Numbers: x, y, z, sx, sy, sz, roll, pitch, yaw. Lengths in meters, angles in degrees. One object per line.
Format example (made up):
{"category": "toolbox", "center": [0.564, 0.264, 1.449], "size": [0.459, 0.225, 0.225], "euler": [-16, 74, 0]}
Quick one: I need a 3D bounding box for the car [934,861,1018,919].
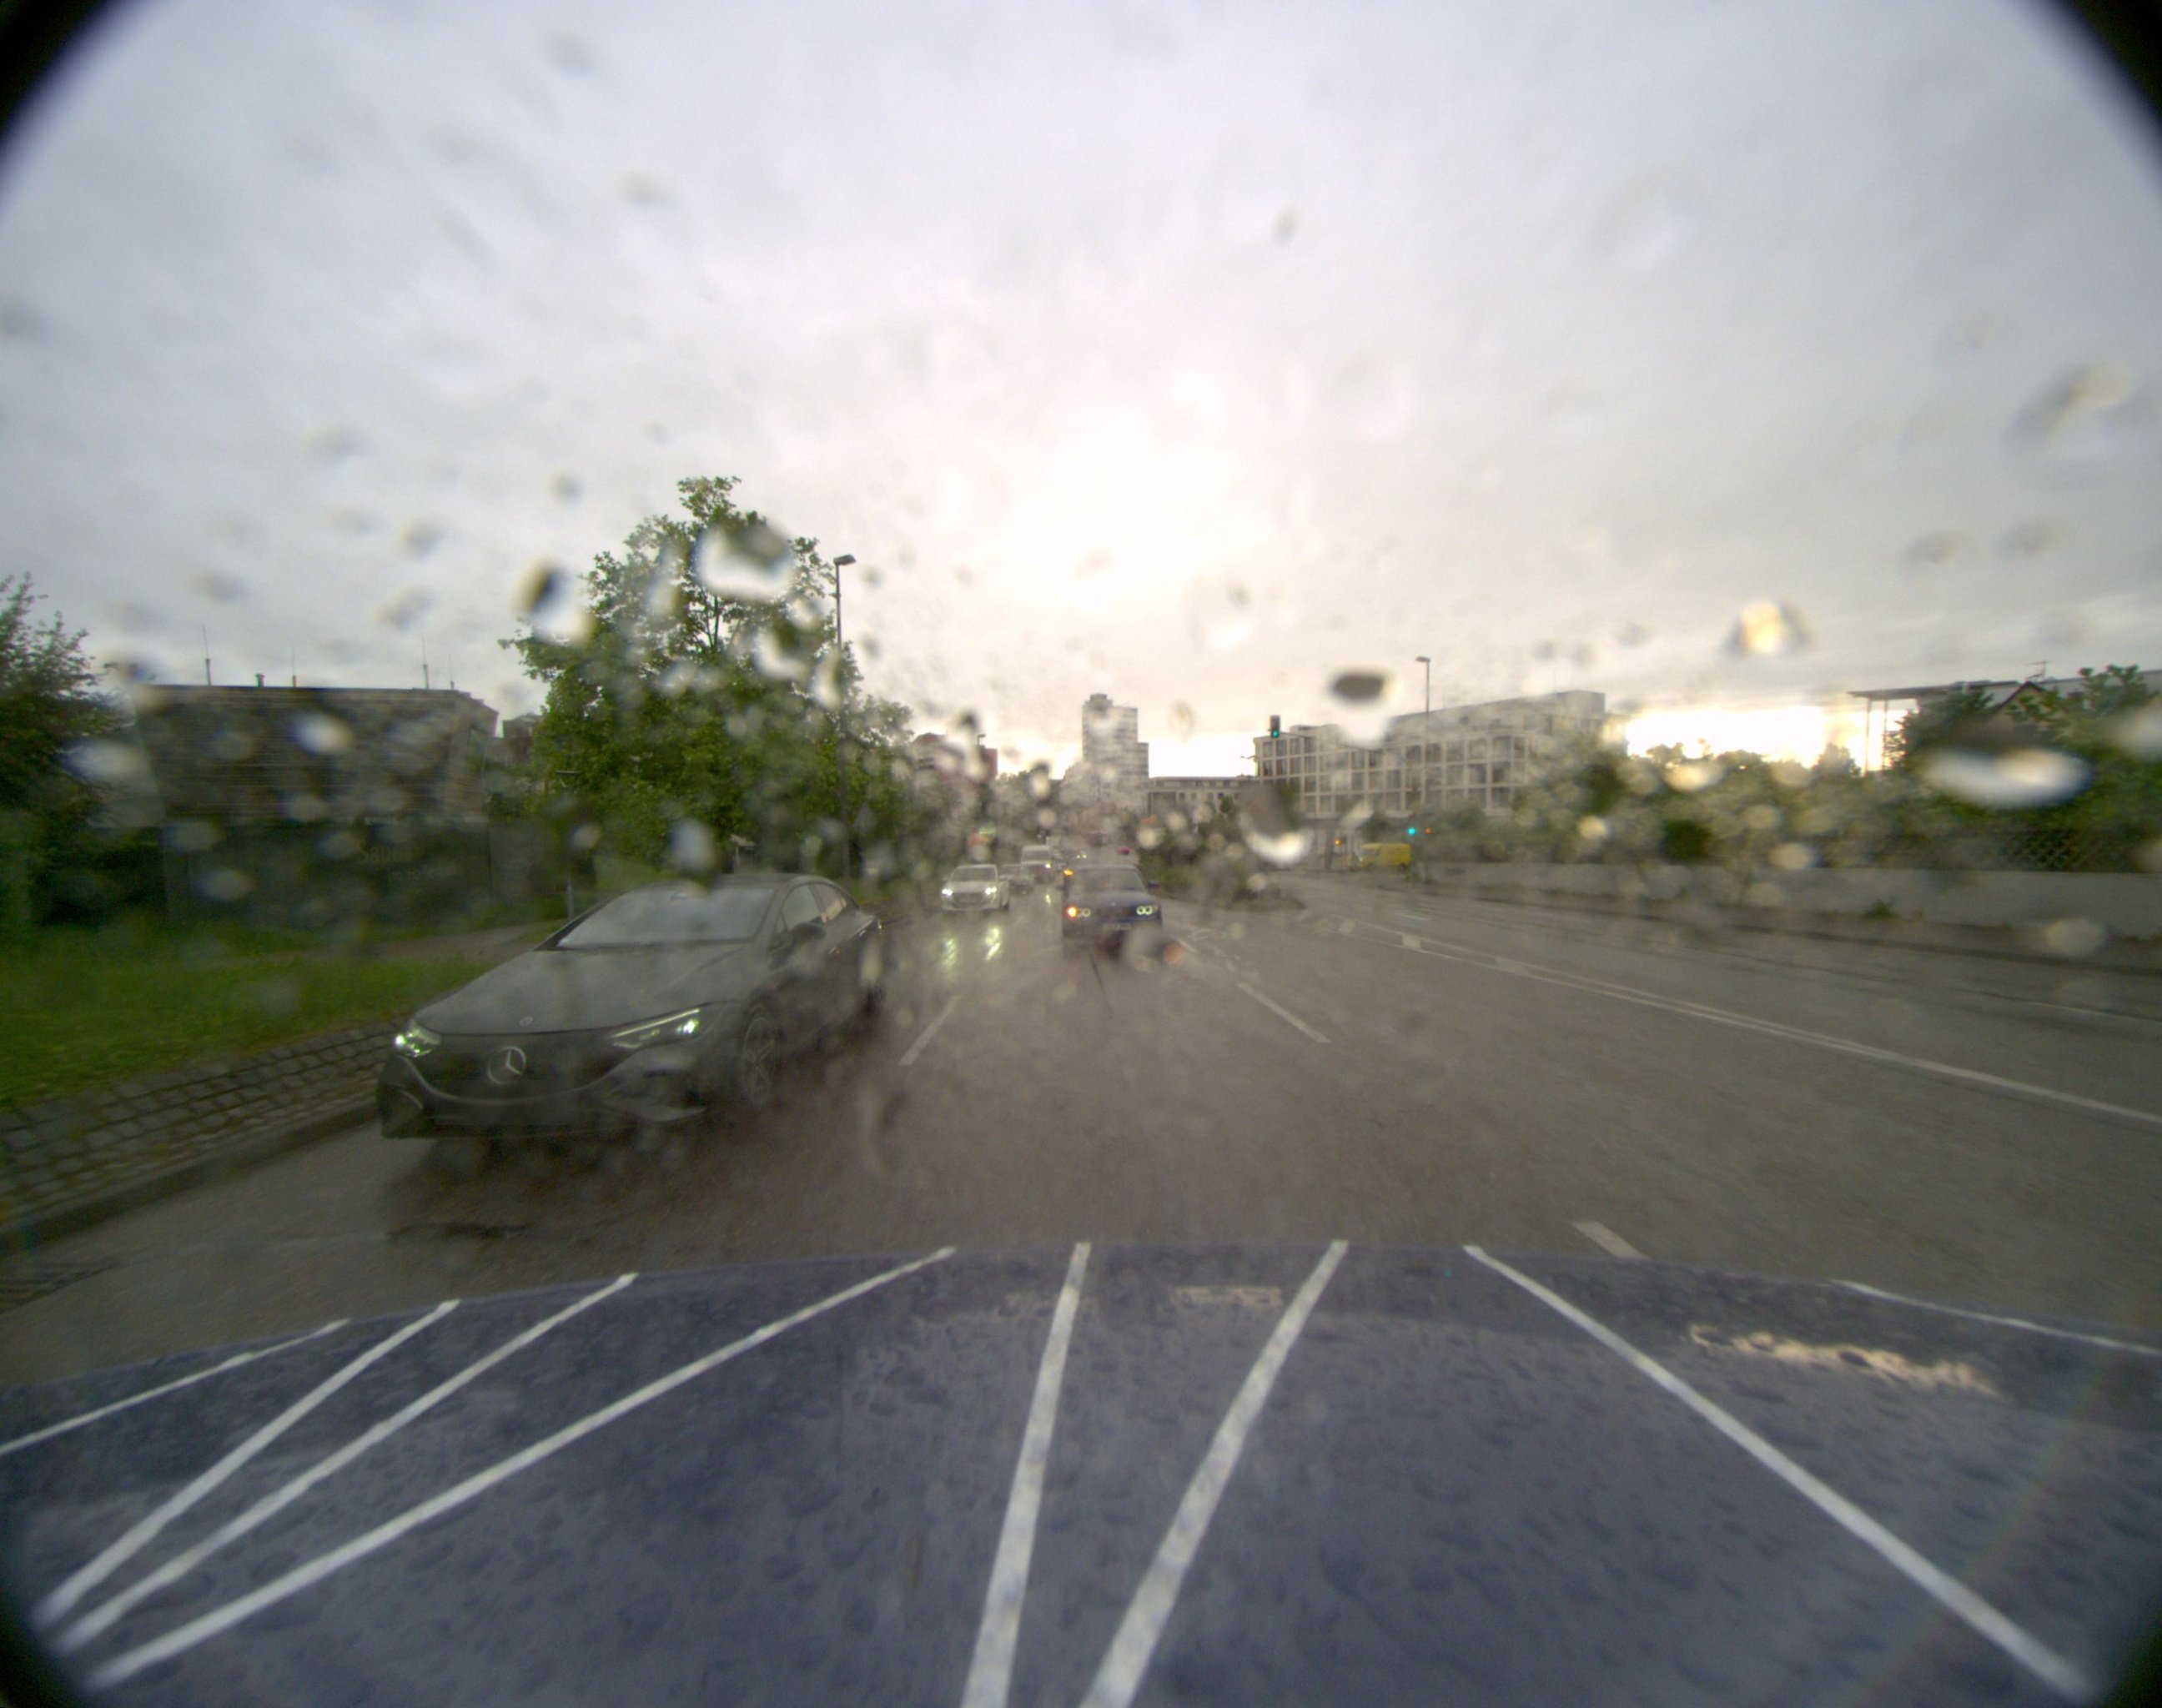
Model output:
{"category": "car", "center": [-3.056, 1.024, 22.964], "size": [1.718, 1.389, 4.035], "euler": [-3, 1, 3]}

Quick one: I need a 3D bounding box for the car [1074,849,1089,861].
{"category": "car", "center": [0.086, 0.120, 109.079], "size": [1.998, 1.543, 4.000], "euler": [-2, 0, 0]}

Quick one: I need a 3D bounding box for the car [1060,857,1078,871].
{"category": "car", "center": [-1.342, 1.139, 88.056], "size": [1.998, 1.543, 4.000], "euler": [-2, 0, 0]}

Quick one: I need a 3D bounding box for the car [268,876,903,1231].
{"category": "car", "center": [-2.939, 1.045, 5.964], "size": [1.836, 1.436, 4.550], "euler": [-3, 1, 1]}

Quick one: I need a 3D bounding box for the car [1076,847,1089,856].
{"category": "car", "center": [0.224, -0.407, 125.190], "size": [1.998, 1.543, 4.000], "euler": [-2, 0, 0]}

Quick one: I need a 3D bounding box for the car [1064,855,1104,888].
{"category": "car", "center": [0.203, 0.834, 37.328], "size": [1.718, 1.369, 3.734], "euler": [-3, 1, 3]}

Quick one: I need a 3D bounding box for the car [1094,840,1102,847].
{"category": "car", "center": [3.789, -2.398, 169.012], "size": [1.907, 1.543, 4.074], "euler": [0, 1, 2]}

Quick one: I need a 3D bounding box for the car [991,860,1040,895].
{"category": "car", "center": [-2.967, 1.043, 35.282], "size": [1.718, 1.369, 3.734], "euler": [-3, 1, 3]}

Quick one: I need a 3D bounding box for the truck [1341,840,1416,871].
{"category": "truck", "center": [25.286, 0.125, 64.549], "size": [6.184, 2.524, 2.223], "euler": [0, 2, -26]}

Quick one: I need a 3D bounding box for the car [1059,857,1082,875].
{"category": "car", "center": [-0.929, 1.071, 69.937], "size": [1.998, 1.543, 4.000], "euler": [-2, 0, 0]}

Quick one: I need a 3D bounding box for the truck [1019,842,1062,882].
{"category": "truck", "center": [-2.653, 0.447, 51.231], "size": [2.168, 2.426, 6.199], "euler": [-2, 1, 3]}

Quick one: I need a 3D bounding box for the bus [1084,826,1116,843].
{"category": "bus", "center": [4.444, -4.686, 186.168], "size": [2.955, 3.972, 18.200], "euler": [0, 1, -14]}

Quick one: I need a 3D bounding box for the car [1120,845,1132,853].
{"category": "car", "center": [7.878, -0.899, 134.178], "size": [1.998, 1.406, 4.430], "euler": [-1, 1, 2]}

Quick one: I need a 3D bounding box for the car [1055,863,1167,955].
{"category": "car", "center": [0.581, 0.930, 14.305], "size": [1.787, 1.335, 3.704], "euler": [-2, 1, 3]}
